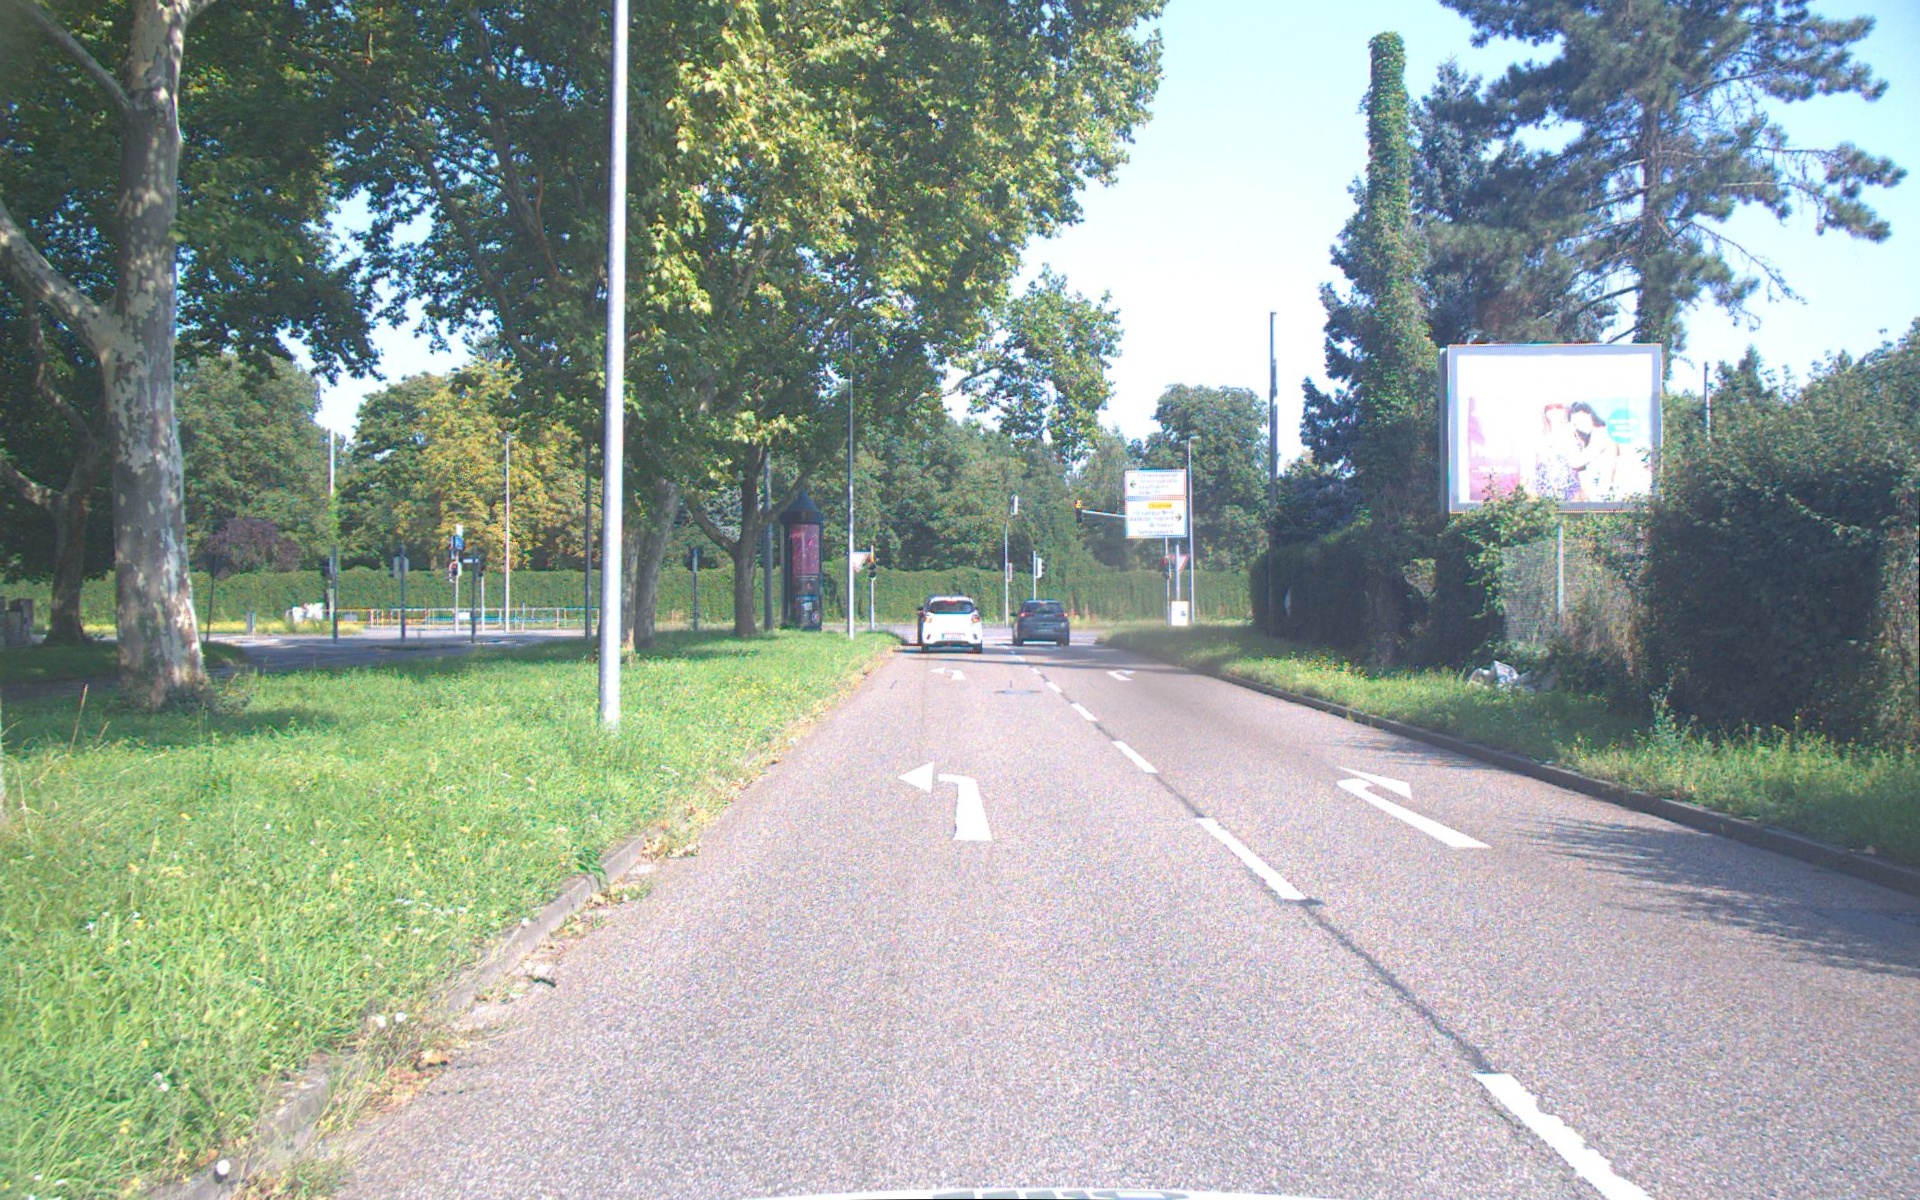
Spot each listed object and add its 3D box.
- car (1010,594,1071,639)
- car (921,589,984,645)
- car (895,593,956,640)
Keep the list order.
[{"bbox_3d":[2.616,0.546,54.490,1.761,1.426,3.999,0,0,-1],"label":"car"},{"bbox_3d":[-0.174,0.451,45.841,1.652,1.487,4.000,0,0,1],"label":"car"},{"bbox_3d":[-1.091,0.522,54.267,1.652,1.487,3.851,0,0,4],"label":"car"}]
